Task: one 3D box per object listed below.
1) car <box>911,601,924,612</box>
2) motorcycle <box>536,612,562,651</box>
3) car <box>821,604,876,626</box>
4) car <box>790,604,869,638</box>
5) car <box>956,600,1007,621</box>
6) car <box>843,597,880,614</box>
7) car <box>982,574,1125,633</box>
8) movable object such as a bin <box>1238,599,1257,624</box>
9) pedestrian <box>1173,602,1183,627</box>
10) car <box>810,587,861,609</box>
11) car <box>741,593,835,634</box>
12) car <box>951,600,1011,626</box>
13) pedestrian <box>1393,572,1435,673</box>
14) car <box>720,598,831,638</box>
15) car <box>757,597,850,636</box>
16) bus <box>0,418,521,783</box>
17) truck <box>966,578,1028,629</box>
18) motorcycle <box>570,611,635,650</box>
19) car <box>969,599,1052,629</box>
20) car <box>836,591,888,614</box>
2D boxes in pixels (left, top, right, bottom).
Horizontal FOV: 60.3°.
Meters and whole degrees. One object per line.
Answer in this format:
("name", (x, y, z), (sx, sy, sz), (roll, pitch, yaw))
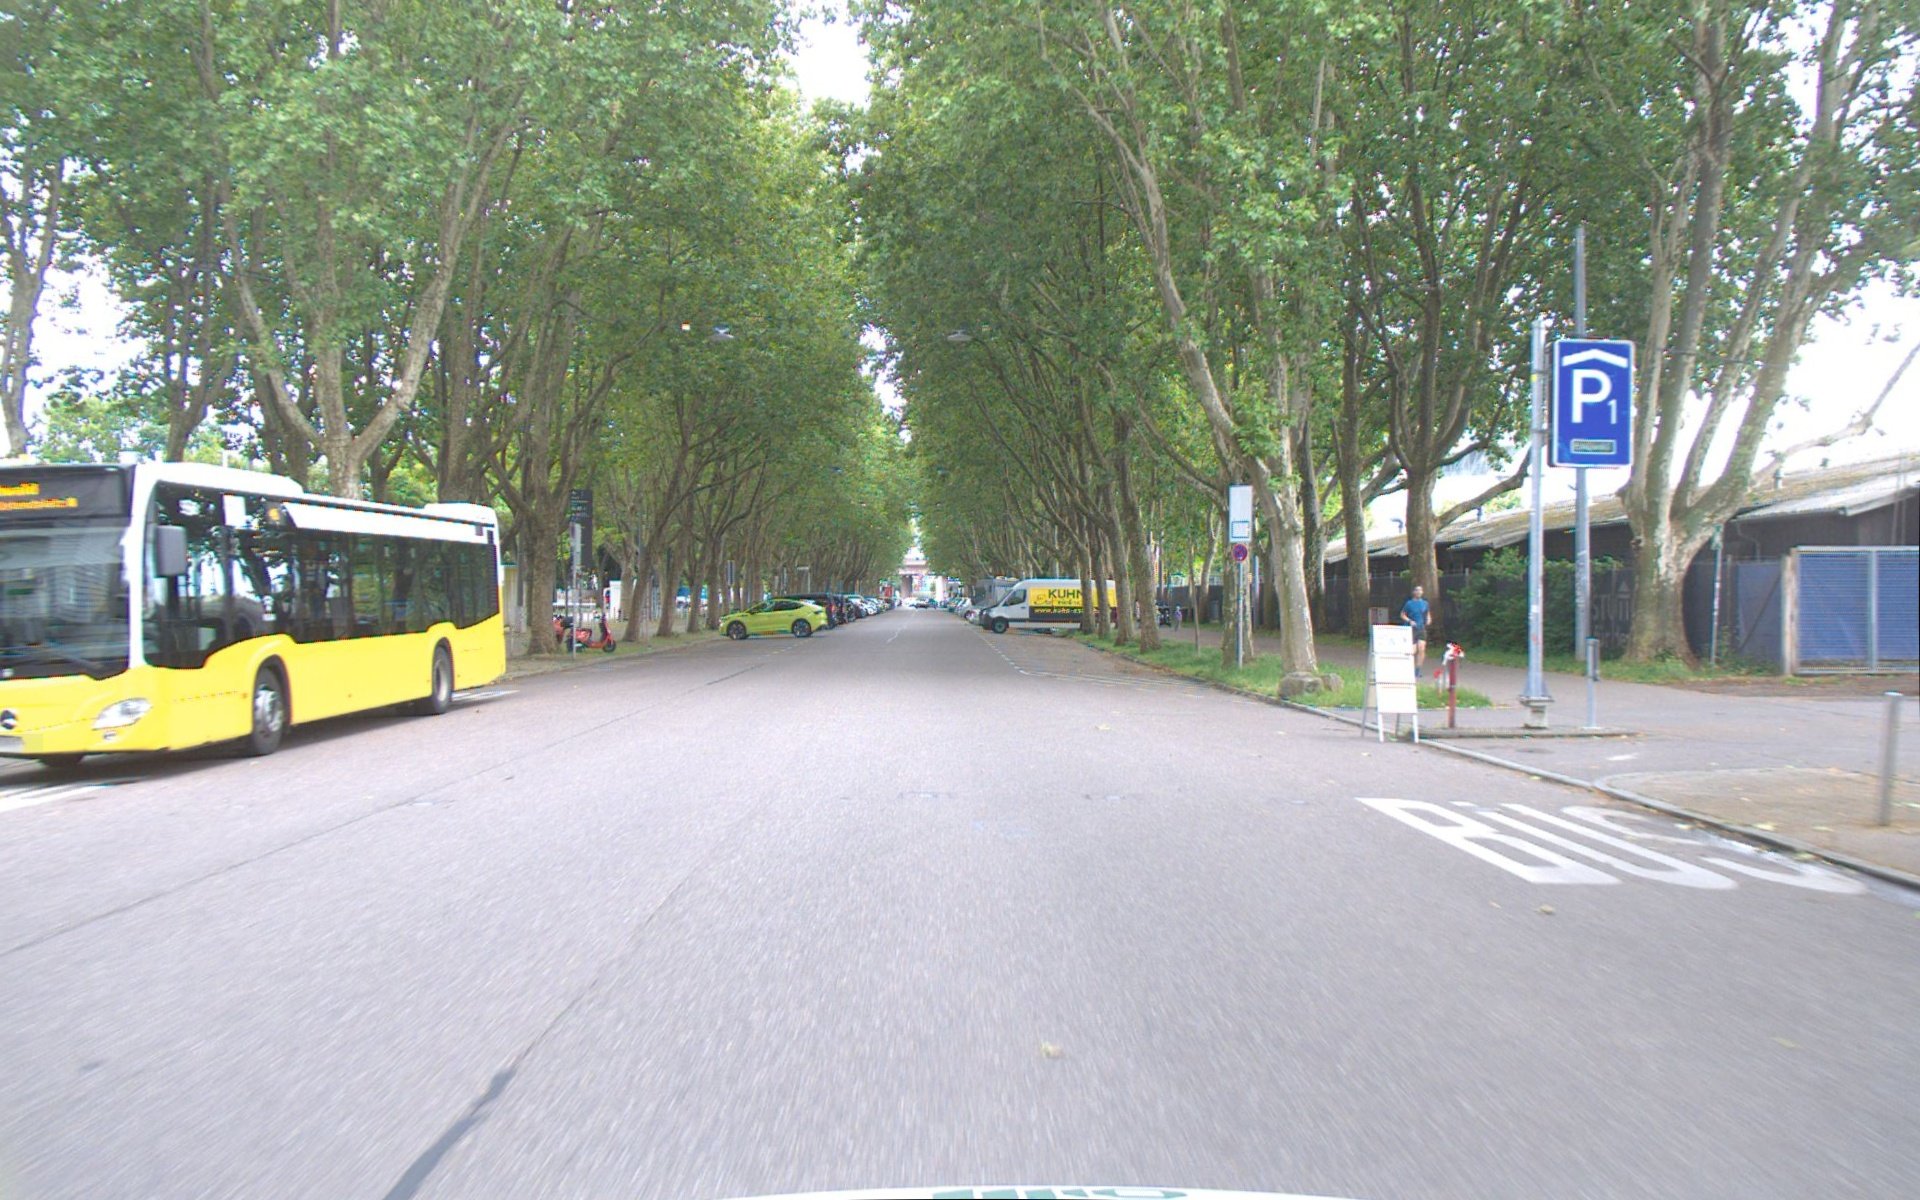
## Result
("car", (-6.058, 0.919, 234.191), (1.622, 1.388, 4.108), (-3, 0, -5))
("motorcycle", (-12.915, 0.985, 51.915), (0.565, 1.178, 2.064), (1, 0, -20))
("car", (-8.932, 1.218, 133.080), (4.292, 1.625, 1.999), (-2, 0, -3))
("car", (-9.042, 1.435, 114.611), (5.327, 2.165, 1.939), (-2, 0, -3))
("car", (1.736, 0.862, 133.695), (4.035, 1.454, 1.703), (3, -1, 0))
("car", (-10.273, 0.556, 172.723), (3.752, 1.656, 1.951), (-2, 0, -4))
("car", (4.481, 0.176, 79.859), (6.740, 2.742, 2.127), (1, 0, 0))
("movable object such as a bin", (11.831, 0.466, 68.072), (0.557, 0.975, 0.674), (-5, 0, -2))
("pedestrian", (10.055, 0.672, 76.396), (0.387, 1.103, 0.419), (-2, -1, 2))
("car", (-10.575, -0.177, 140.925), (4.254, 1.697, 1.999), (-3, 0, -3))
("car", (-8.773, 0.693, 84.518), (4.670, 1.958, 2.015), (-2, 0, -6))
("car", (1.518, 0.932, 118.669), (4.250, 1.646, 1.804), (2, 0, 1))
("pedestrian", (9.322, 0.455, 33.999), (0.694, 2.049, 0.882), (1, -1, 8))
("car", (-7.752, 0.749, 69.706), (4.423, 1.646, 1.758), (0, 0, 1))
("car", (-8.433, 0.879, 89.377), (4.805, 1.958, 2.208), (-2, 0, -1))
("bus", (-8.631, 0.059, 21.039), (2.597, 3.209, 12.368), (-3, 0, 0))
("truck", (2.177, 0.201, 101.117), (2.413, 2.989, 7.521), (1, 0, -9))
("motorcycle", (-11.136, 0.951, 51.586), (0.565, 1.178, 2.065), (0, -1, 41))
("car", (2.629, 0.716, 86.223), (4.268, 1.471, 1.613), (1, 0, 2))
("car", (-9.219, 0.244, 156.094), (4.795, 2.054, 1.919), (-2, 0, -2))
